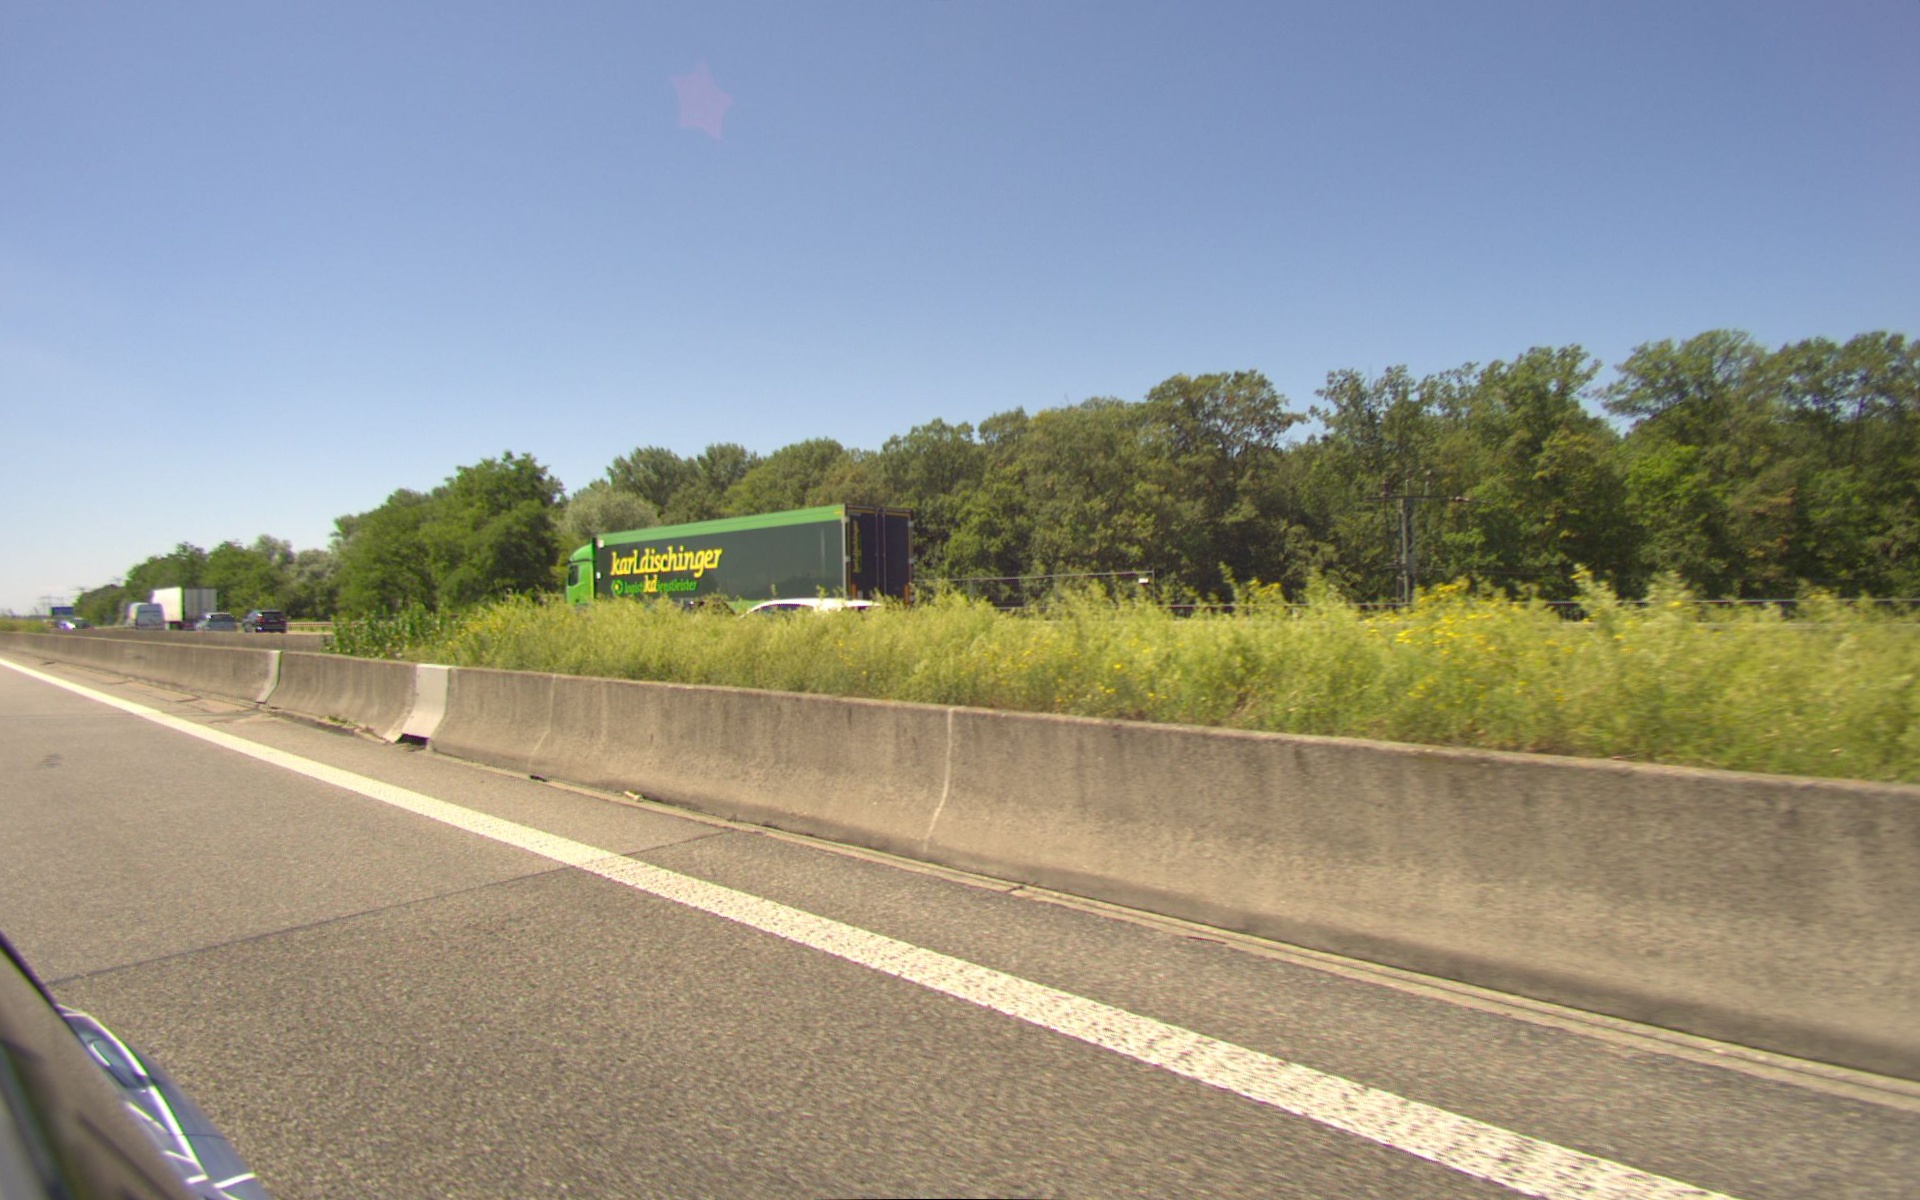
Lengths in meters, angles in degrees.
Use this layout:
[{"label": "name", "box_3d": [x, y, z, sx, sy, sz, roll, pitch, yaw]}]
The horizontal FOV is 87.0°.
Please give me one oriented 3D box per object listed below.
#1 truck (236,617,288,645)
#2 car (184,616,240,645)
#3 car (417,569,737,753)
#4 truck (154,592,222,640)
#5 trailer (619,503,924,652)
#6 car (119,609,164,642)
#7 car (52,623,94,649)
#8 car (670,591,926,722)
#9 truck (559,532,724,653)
[{"label": "truck", "box_3d": [-48.745, 2.146, 70.643, 4.741, 1.814, 1.972, -2, 0, 42]}, {"label": "car", "box_3d": [-47.239, 1.907, 63.882, 4.538, 1.725, 1.978, -2, 0, 42]}, {"label": "car", "box_3d": [-5.304, 0.715, 13.653, 4.712, 2.029, 2.266, -1, -1, 44]}, {"label": "truck", "box_3d": [-68.956, 1.481, 90.220, 11.149, 4.007, 3.015, -2, -1, 43]}, {"label": "trailer", "box_3d": [-6.334, -0.475, 31.577, 11.867, 3.892, 2.892, -1, -1, 43]}, {"label": "car", "box_3d": [-67.276, 2.075, 83.132, 6.128, 2.588, 1.972, -1, -1, 43]}, {"label": "car", "box_3d": [-68.292, 2.758, 77.915, 3.999, 1.863, 1.972, -2, 0, 42]}, {"label": "car", "box_3d": [-2.708, 0.840, 16.465, 4.072, 1.854, 1.973, -1, -1, 41]}, {"label": "truck", "box_3d": [-11.609, -0.185, 36.579, 6.500, 3.971, 2.890, -2, -1, 44]}]
